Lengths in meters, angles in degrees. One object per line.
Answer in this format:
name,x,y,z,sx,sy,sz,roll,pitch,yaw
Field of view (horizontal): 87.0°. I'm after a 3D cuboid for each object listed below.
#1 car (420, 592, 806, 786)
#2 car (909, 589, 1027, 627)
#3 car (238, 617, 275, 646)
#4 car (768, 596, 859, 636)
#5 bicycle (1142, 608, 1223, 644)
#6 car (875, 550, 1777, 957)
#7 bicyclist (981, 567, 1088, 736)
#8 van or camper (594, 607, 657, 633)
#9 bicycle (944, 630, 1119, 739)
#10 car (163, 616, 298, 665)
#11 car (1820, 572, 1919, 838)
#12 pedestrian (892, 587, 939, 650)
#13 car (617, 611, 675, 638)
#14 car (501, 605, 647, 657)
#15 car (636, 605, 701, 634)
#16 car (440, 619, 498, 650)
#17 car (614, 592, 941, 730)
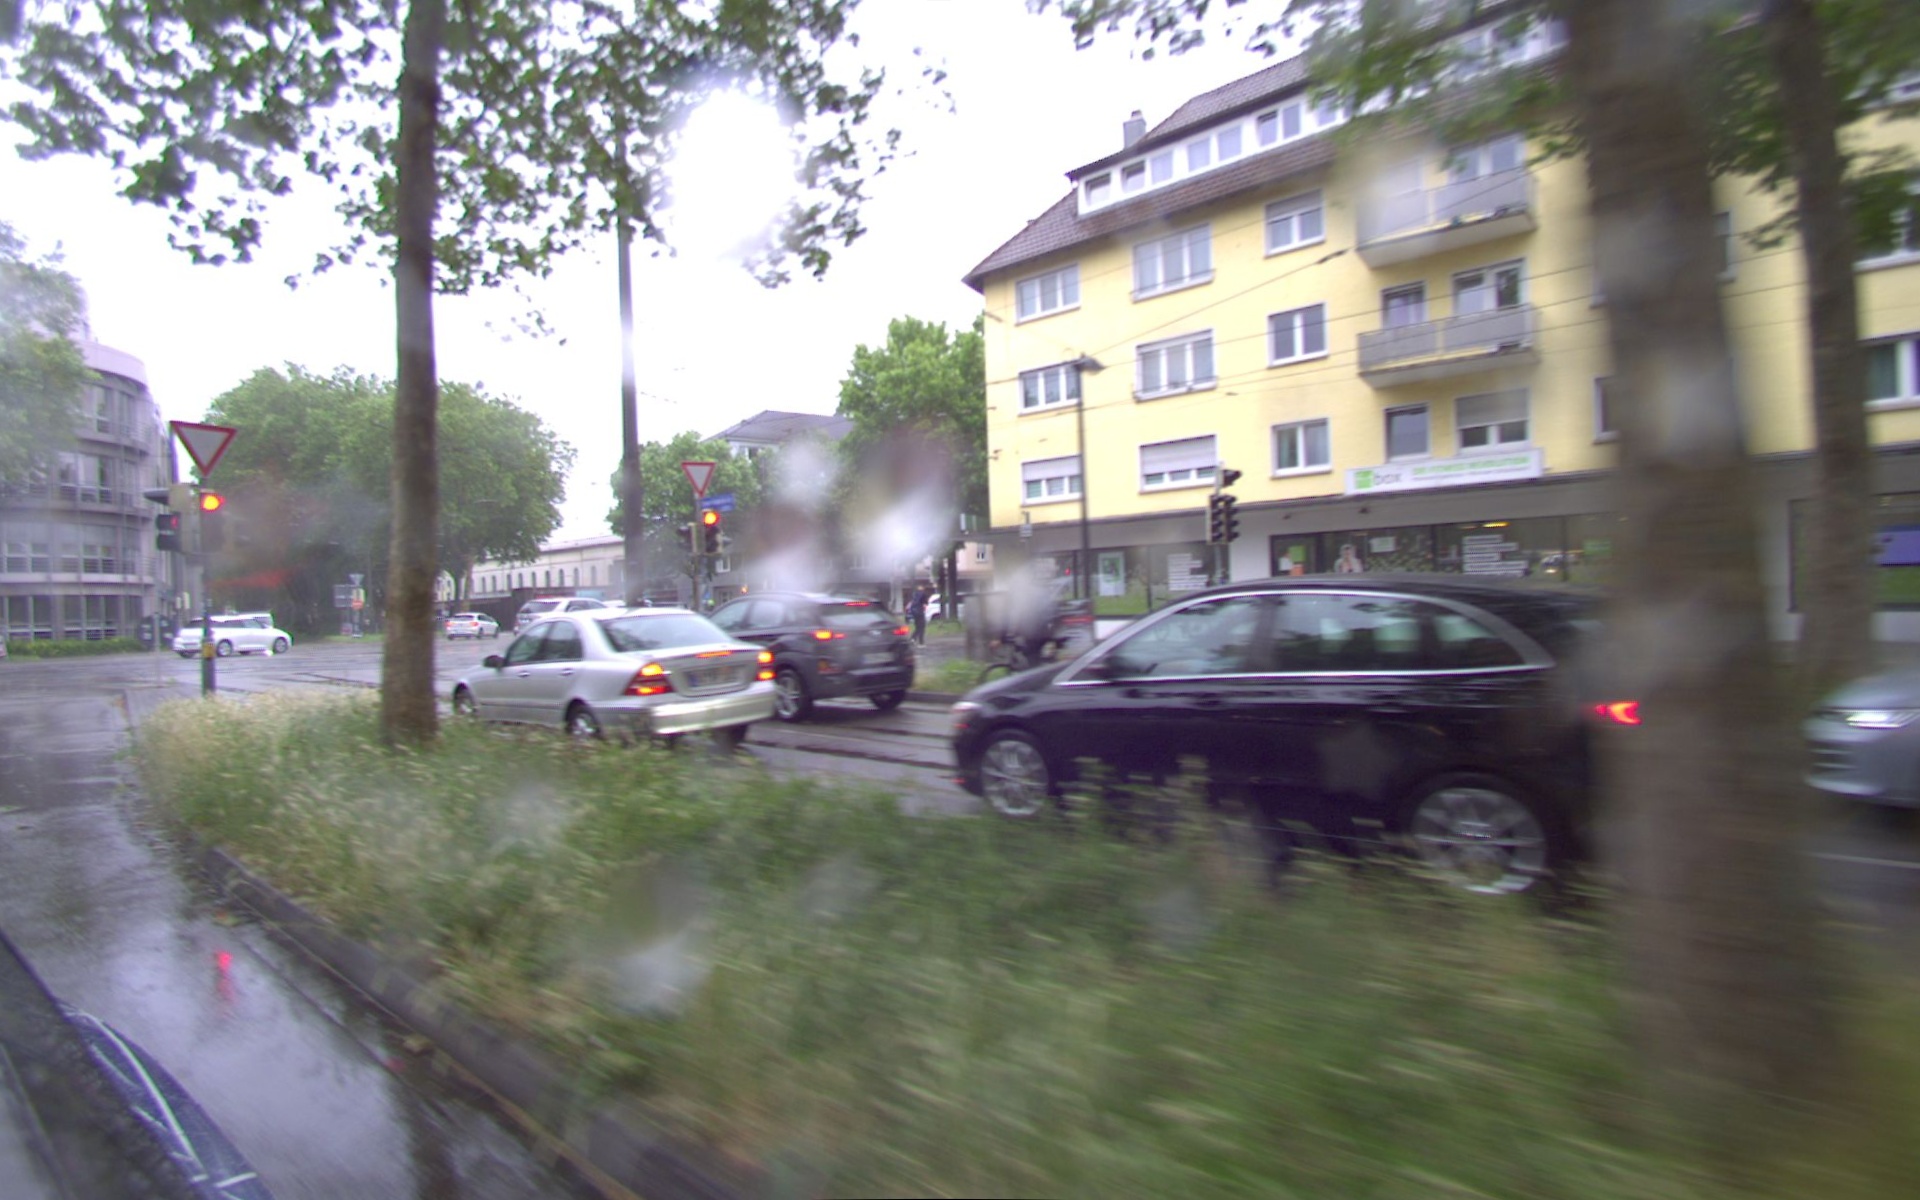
car,-3.658,0.762,10.173,4.500,1.500,1.716,-2,0,43
car,0.362,0.366,46.181,4.953,1.485,1.986,-3,0,21
car,-46.749,2.075,67.250,1.972,1.785,4.010,0,-1,-35
car,-6.812,0.727,47.479,1.805,1.722,4.138,-1,1,37
bicycle,5.882,0.687,26.847,2.046,0.903,0.605,-2,0,44
car,1.762,0.607,5.984,4.640,1.496,1.836,-2,0,43
bicyclist,0.803,0.521,10.919,0.889,1.729,0.705,0,0,39
van or camper,-27.605,1.614,83.534,4.580,2.091,2.004,0,-1,-38
bicycle,0.749,0.871,10.968,1.814,1.039,0.710,0,0,40
car,-27.253,1.462,38.000,1.787,1.599,4.063,-2,0,8
car,6.928,0.495,4.891,4.130,1.408,1.722,-2,0,43
pedestrian,-1.241,0.507,28.173,1.000,1.690,0.817,-1,0,-35
car,-25.324,1.974,81.681,3.941,2.029,2.001,-2,0,-45
car,-13.863,1.058,36.612,1.911,1.659,4.622,-1,1,37
car,-22.280,1.462,77.359,4.323,2.029,2.074,-1,1,-31
car,-27.080,1.862,55.937,1.783,1.548,4.200,-2,0,-10
car,-2.509,0.742,13.367,4.278,1.513,1.856,-2,0,38
